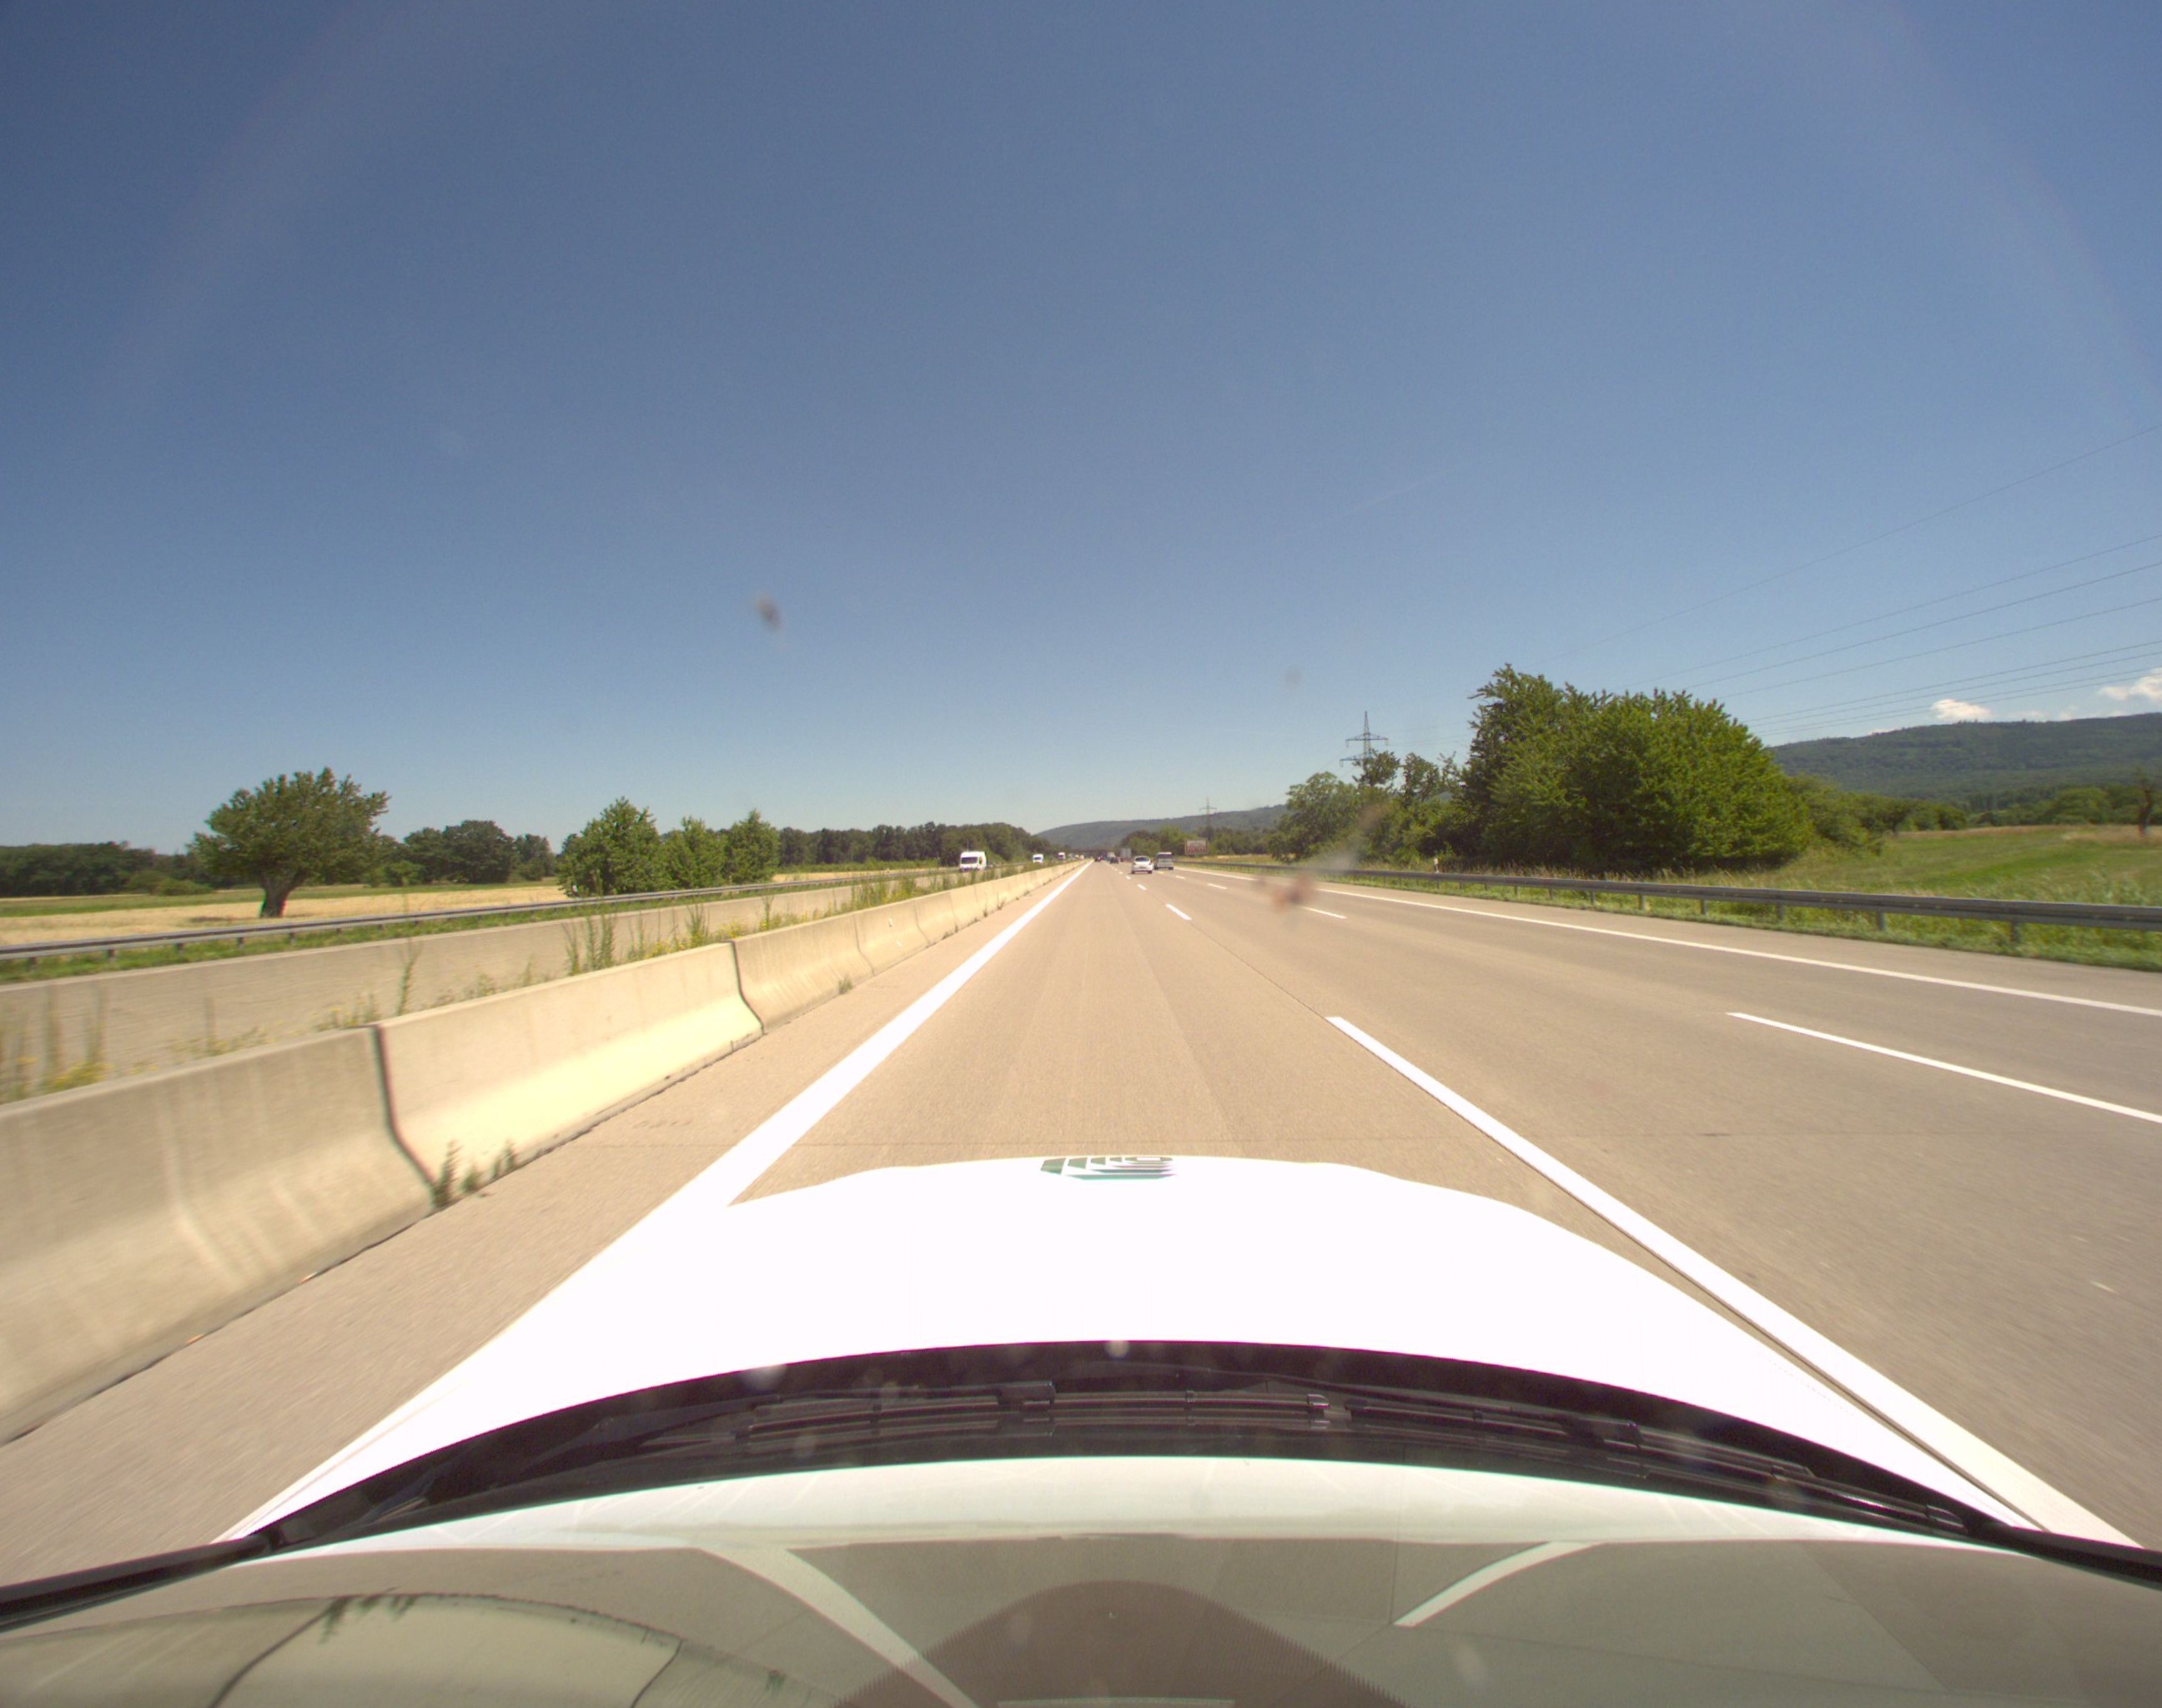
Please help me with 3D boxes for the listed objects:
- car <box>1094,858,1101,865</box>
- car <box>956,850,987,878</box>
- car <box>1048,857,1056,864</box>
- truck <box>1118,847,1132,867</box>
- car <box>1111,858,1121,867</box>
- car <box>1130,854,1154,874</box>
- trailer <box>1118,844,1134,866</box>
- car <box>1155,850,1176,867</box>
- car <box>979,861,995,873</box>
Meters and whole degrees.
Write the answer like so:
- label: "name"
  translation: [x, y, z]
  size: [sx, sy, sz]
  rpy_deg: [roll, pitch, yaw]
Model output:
- label: "car"
  translation: [4.803, 2.146, 234.824]
  size: [1.922, 1.794, 4.000]
  rpy_deg: [0, 0, 0]
- label: "car"
  translation: [-11.114, 0.970, 83.270]
  size: [2.257, 2.788, 7.067]
  rpy_deg: [0, 0, -1]
- label: "car"
  translation: [-8.192, 1.806, 229.555]
  size: [1.985, 1.915, 4.405]
  rpy_deg: [0, 0, 3]
- label: "truck"
  translation: [12.582, 0.911, 235.090]
  size: [3.709, 5.811, 7.052]
  rpy_deg: [0, 0, 0]
- label: "car"
  translation: [7.383, 1.872, 173.141]
  size: [1.987, 1.849, 3.999]
  rpy_deg: [1, 0, 0]
- label: "car"
  translation: [5.264, 0.883, 71.174]
  size: [1.813, 1.662, 4.000]
  rpy_deg: [-1, 0, 0]
- label: "trailer"
  translation: [12.633, 0.253, 228.985]
  size: [3.709, 5.811, 12.158]
  rpy_deg: [0, 0, 0]
- label: "car"
  translation: [9.287, 0.480, 89.968]
  size: [1.987, 1.849, 4.000]
  rpy_deg: [0, 0, 0]
- label: "car"
  translation: [-13.646, 1.873, 118.709]
  size: [1.747, 1.684, 4.842]
  rpy_deg: [0, 0, 1]
